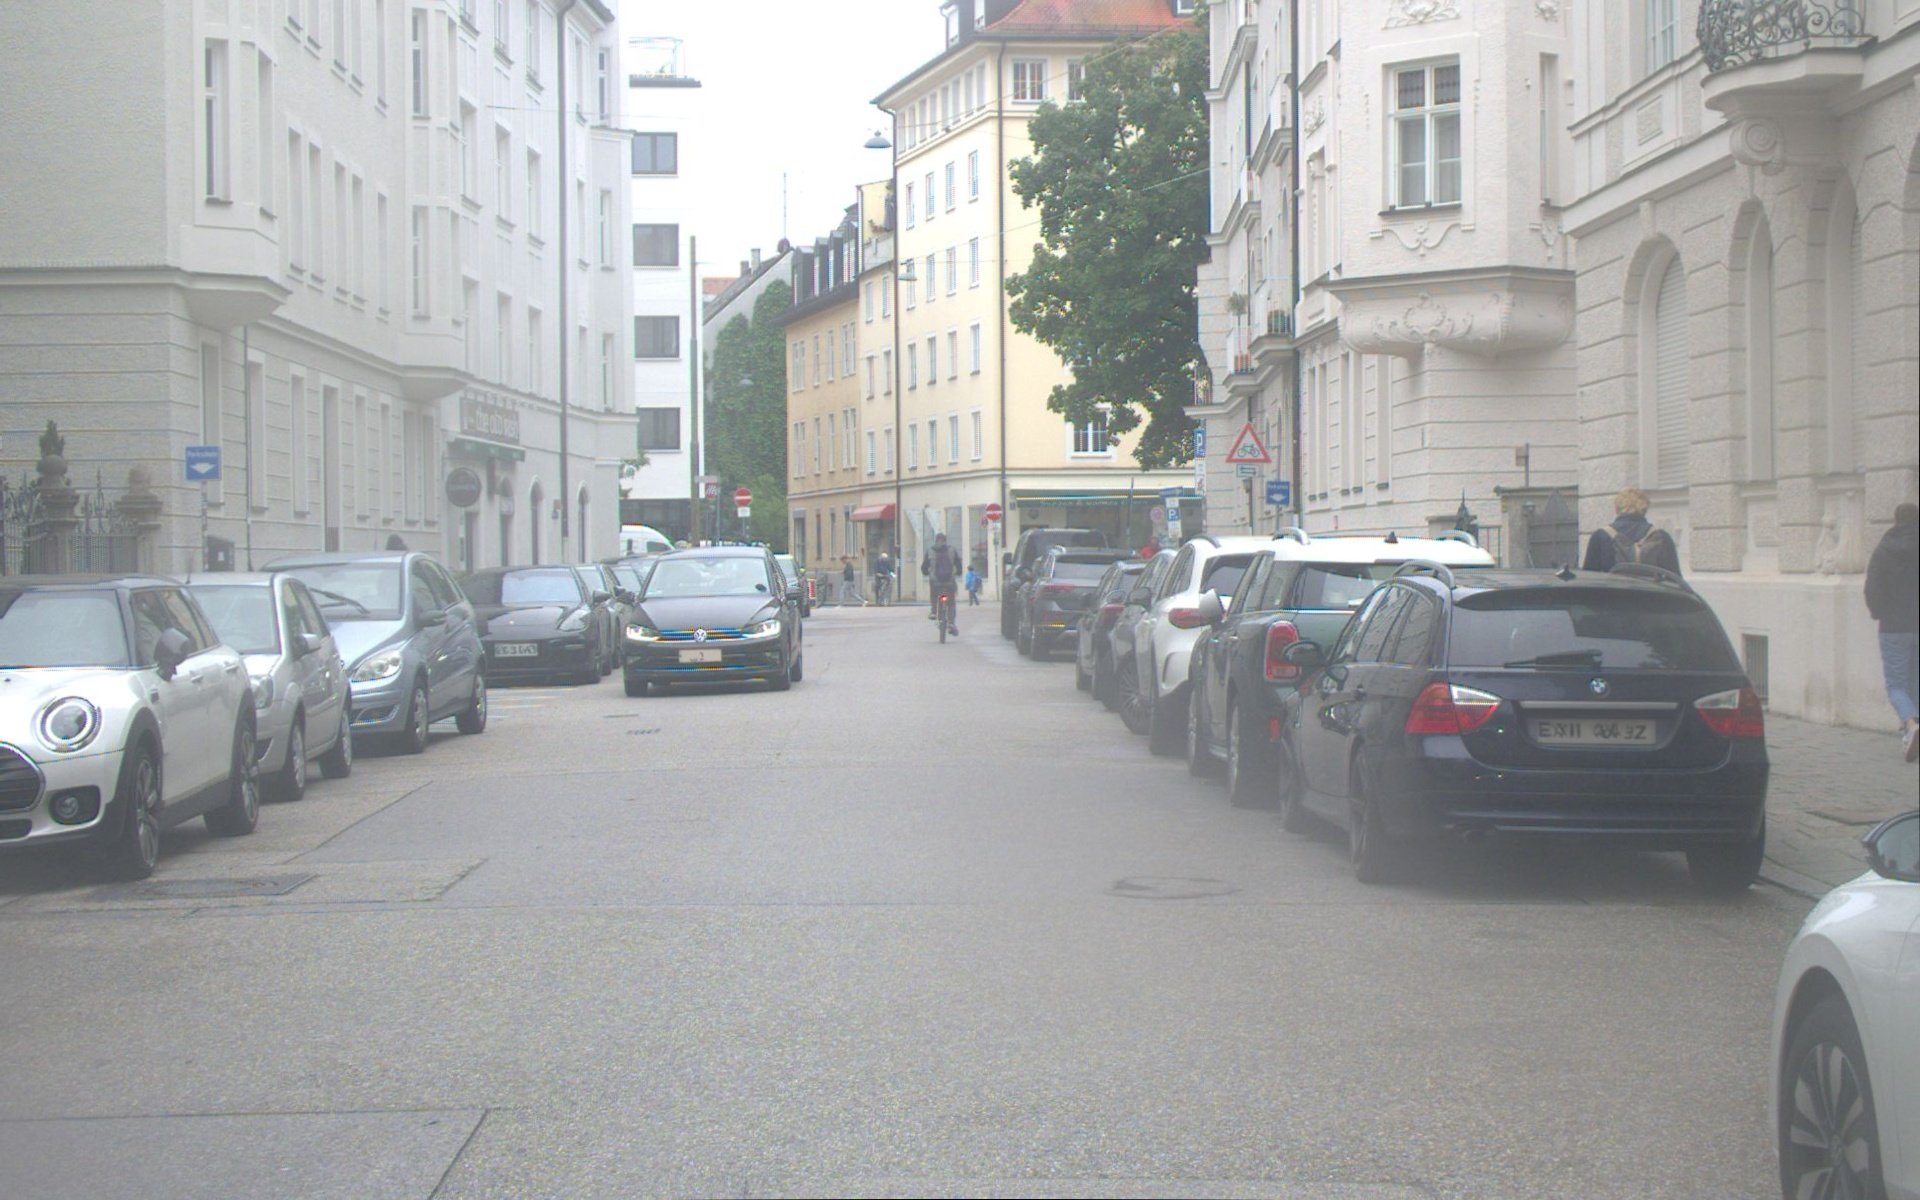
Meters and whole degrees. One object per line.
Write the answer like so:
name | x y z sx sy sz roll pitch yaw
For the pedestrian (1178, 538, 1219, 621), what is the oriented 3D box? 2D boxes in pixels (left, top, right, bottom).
pedestrian | 4.939 -0.423 71.237 0.679 1.668 0.654 -3 0 -3

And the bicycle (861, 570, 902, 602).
bicycle | -2.551 -0.449 111.297 0.846 0.998 2.170 -1 0 -15

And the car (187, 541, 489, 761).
car | -4.988 0.360 28.064 1.696 1.575 4.062 -3 1 -1

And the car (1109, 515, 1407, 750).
car | 2.206 0.184 26.516 1.895 1.630 4.391 -1 1 0

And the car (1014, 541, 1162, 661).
car | 1.733 -0.003 47.656 1.707 1.582 4.000 1 0 -3

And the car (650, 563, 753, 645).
car | -4.940 0.065 66.236 1.741 1.482 4.181 -1 0 -1

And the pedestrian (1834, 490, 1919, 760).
pedestrian | 6.066 0.140 21.901 0.682 1.673 0.812 -3 1 -2

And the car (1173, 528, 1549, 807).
car | 2.339 0.356 21.034 1.748 1.520 4.170 -1 0 -1

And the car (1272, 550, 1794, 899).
car | 2.583 0.487 16.450 1.711 1.447 4.225 0 1 -1

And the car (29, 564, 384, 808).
car | -4.920 0.517 22.928 1.644 1.398 4.000 -3 0 -3

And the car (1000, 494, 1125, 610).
car | 1.722 -0.810 59.294 1.911 1.879 4.714 1 0 -1

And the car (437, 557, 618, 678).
car | -5.195 0.188 41.789 1.849 1.362 4.703 -1 0 -3

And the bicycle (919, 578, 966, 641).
bicycle | -0.277 0.148 55.461 0.639 1.001 1.574 -1 0 3

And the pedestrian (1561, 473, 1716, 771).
pedestrian | 4.200 0.129 21.324 0.682 1.769 0.855 -4 1 0

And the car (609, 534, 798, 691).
car | -2.752 0.125 37.642 1.724 1.528 4.086 -3 0 -1

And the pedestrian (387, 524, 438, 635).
pedestrian | -8.456 -0.314 53.122 0.697 1.701 0.665 -1 0 -3

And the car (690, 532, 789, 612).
car | -5.009 -0.646 78.535 1.843 1.751 4.000 -1 0 2

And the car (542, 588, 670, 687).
car | -5.419 0.548 53.038 1.810 1.380 4.444 -3 0 -4

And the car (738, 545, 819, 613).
car | -4.550 -0.509 86.526 1.676 1.591 3.945 -3 0 1

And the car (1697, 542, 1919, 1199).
car | 2.633 0.648 5.601 1.662 1.502 4.065 0 0 -5

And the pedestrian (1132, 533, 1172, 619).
pedestrian | 3.955 -0.493 70.801 0.703 1.722 0.703 -2 0 -3

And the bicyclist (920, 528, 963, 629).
bicyclist | -0.299 -0.347 55.441 0.606 1.601 0.757 -1 1 3

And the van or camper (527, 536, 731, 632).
van or camper | -9.901 -0.473 102.589 5.903 2.668 1.873 -1 -2 -8

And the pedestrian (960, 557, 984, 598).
pedestrian | 0.390 -0.711 109.424 0.699 1.266 0.651 -2 0 4

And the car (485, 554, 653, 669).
car | -5.370 0.154 47.683 1.794 1.415 4.511 -4 0 -1

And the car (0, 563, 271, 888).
car | -4.726 0.566 17.232 1.797 1.430 4.080 -1 0 -1

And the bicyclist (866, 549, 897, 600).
bicyclist | -2.542 -0.826 111.225 0.781 1.632 0.976 -1 0 -15

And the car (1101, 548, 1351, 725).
car | 2.340 0.303 31.120 1.708 1.496 4.000 0 0 -4

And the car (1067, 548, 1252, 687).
car | 2.062 0.163 36.515 1.612 1.390 4.000 0 0 -2

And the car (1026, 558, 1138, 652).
car | 1.866 0.072 53.418 1.664 1.391 3.581 1 0 1
